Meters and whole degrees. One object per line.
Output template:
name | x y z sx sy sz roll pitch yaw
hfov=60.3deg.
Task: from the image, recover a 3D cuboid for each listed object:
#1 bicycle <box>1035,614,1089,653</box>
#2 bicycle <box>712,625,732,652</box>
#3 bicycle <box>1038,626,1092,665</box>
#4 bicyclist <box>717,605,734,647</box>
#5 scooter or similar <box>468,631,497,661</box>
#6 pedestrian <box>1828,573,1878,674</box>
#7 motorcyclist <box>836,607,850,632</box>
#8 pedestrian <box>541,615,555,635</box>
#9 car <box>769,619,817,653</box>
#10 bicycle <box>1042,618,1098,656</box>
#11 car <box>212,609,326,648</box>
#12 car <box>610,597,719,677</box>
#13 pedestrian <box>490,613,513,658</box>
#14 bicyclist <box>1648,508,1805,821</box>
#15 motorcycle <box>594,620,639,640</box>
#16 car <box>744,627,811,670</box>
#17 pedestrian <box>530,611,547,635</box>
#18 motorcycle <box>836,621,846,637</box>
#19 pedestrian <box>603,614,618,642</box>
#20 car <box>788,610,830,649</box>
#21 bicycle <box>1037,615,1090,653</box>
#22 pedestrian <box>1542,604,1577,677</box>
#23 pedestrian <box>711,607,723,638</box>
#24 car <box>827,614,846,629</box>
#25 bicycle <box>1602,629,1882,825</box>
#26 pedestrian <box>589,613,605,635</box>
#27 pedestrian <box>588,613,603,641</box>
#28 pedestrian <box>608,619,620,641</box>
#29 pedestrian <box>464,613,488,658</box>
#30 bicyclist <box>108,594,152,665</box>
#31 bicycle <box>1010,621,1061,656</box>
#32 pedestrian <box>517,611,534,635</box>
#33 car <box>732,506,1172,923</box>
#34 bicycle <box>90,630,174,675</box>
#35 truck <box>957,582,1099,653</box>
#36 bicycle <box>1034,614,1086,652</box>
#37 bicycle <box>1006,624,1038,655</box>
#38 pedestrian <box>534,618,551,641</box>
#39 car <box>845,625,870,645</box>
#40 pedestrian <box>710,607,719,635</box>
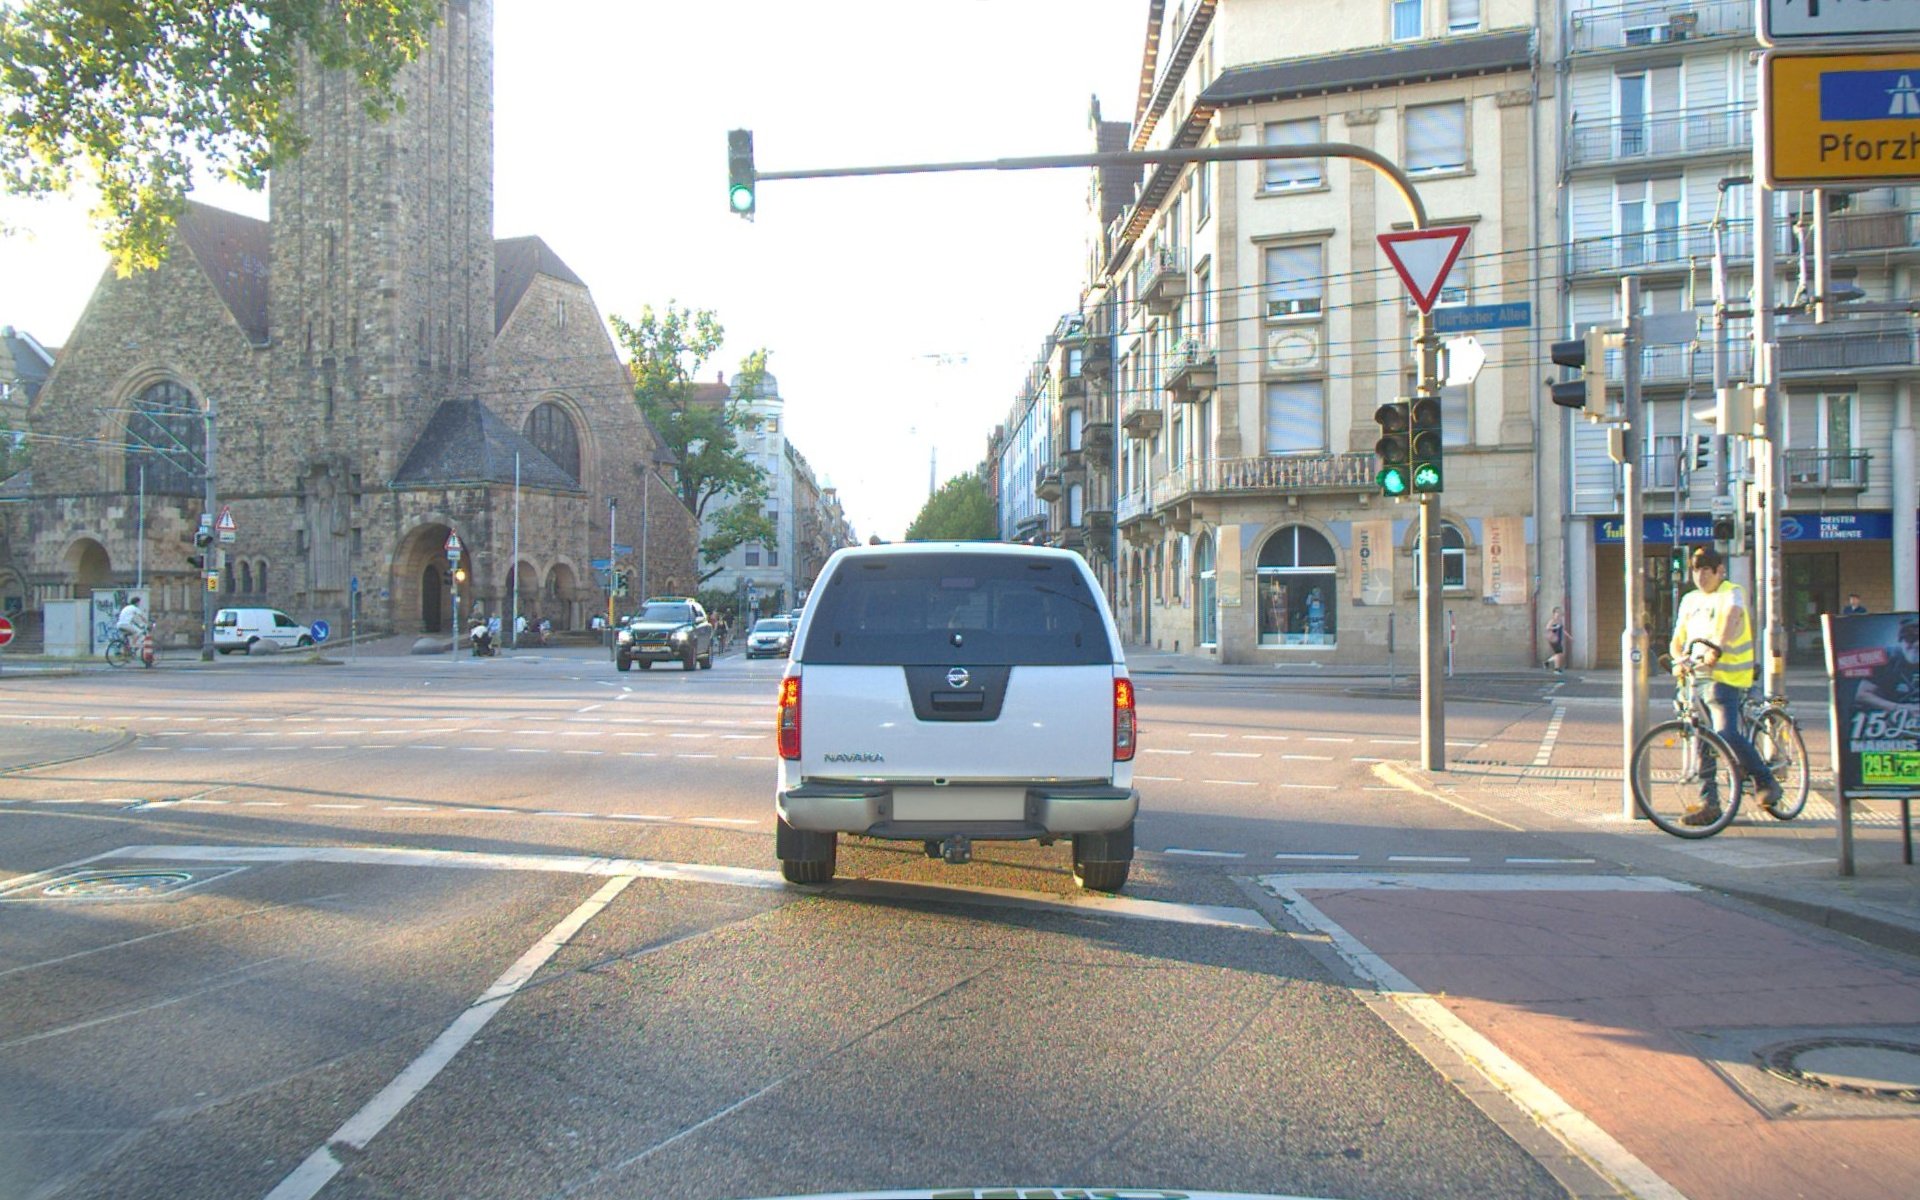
bicycle | 3.609 1.191 58.630 1.781 1.259 0.477 -3 -1 -3
bicycle | -9.733 1.570 67.579 0.587 1.062 1.945 1 -1 -2
bicycle | 3.677 1.580 57.912 1.781 1.259 0.488 -3 -1 -3
bicyclist | -9.570 1.061 67.504 0.587 1.673 0.963 1 -1 -2
scooter or similar | -17.966 1.728 62.278 0.620 1.123 1.079 0 -1 10
pedestrian | 20.051 0.521 37.156 0.850 2.247 0.821 0 -1 19
motorcyclist | -7.863 1.303 111.259 0.857 1.673 0.963 1 -1 -2
pedestrian | -20.085 1.232 80.597 0.541 0.977 0.708 1 -1 -7
car | -8.019 1.715 79.781 1.953 1.503 4.138 -1 0 -2
bicycle | 3.789 1.275 56.978 1.781 1.170 0.636 -3 -1 -3
car | -28.750 1.193 68.977 1.679 1.543 4.453 0 -1 23
car | -7.352 0.868 41.575 1.953 1.815 4.796 2 0 -2
pedestrian | -17.479 1.350 63.112 0.620 1.728 0.603 0 -1 10
bicyclist | 4.757 0.388 10.267 0.690 1.856 0.621 1 -1 -33
motorcycle | -17.909 1.562 86.219 2.201 1.005 0.707 1 -1 -6
car | -7.048 1.859 64.453 1.952 1.585 4.769 -1 -1 1
pedestrian | -17.642 0.962 69.232 0.511 0.977 0.479 0 -1 19
motorcycle | -7.982 1.930 111.259 0.587 1.062 1.945 1 -1 -2
pedestrian | -16.209 1.293 76.645 0.468 1.267 0.523 0 -1 17
car | -8.119 1.571 89.139 1.953 2.049 4.948 -1 -1 -2
bicycle | 3.703 1.228 59.356 1.781 1.259 0.412 -3 -1 -3
pedestrian | 14.933 1.003 41.193 0.771 1.810 0.543 0 -1 25
pedestrian | -14.771 1.370 100.389 0.632 1.888 0.559 1 -1 -15
car | -13.312 2.351 179.039 1.821 1.556 3.998 1 -1 -1
bicycle | 4.935 0.757 10.384 2.046 1.129 0.621 1 -1 -33
pedestrian | -16.458 1.075 74.952 0.510 0.977 0.479 0 -1 17
pedestrian | -16.755 1.236 76.037 0.468 1.267 0.523 0 -1 17
pedestrian | -15.632 1.369 74.728 0.513 0.977 0.477 1 -1 -16
pedestrian | -18.469 1.350 63.114 0.620 1.728 0.603 0 -1 10
bicyclist | -22.122 0.764 44.087 0.642 1.859 0.860 0 1 16
bicycle | 2.612 1.328 57.430 1.692 1.102 0.317 -3 -1 -3
pedestrian | -18.255 0.960 69.501 0.511 0.977 0.479 0 -1 19
car | -0.050 0.547 9.422 1.953 1.841 3.999 1 -1 -1
bicycle | -22.098 1.378 44.190 0.642 1.096 2.246 1 0 15
truck | 2.655 0.694 63.536 5.630 2.610 2.251 1 -1 -44
bicycle | 3.623 1.180 59.961 1.781 1.259 0.410 -3 -1 -3
bicycle | 2.187 1.384 58.307 1.055 1.042 0.317 -3 -1 -3
pedestrian | -17.780 1.261 70.396 0.469 0.977 0.522 0 -1 29
car | -8.172 2.781 131.954 1.821 1.556 3.998 1 -1 -2
pedestrian | -15.025 1.296 101.226 0.549 1.725 0.643 1 -1 -8
